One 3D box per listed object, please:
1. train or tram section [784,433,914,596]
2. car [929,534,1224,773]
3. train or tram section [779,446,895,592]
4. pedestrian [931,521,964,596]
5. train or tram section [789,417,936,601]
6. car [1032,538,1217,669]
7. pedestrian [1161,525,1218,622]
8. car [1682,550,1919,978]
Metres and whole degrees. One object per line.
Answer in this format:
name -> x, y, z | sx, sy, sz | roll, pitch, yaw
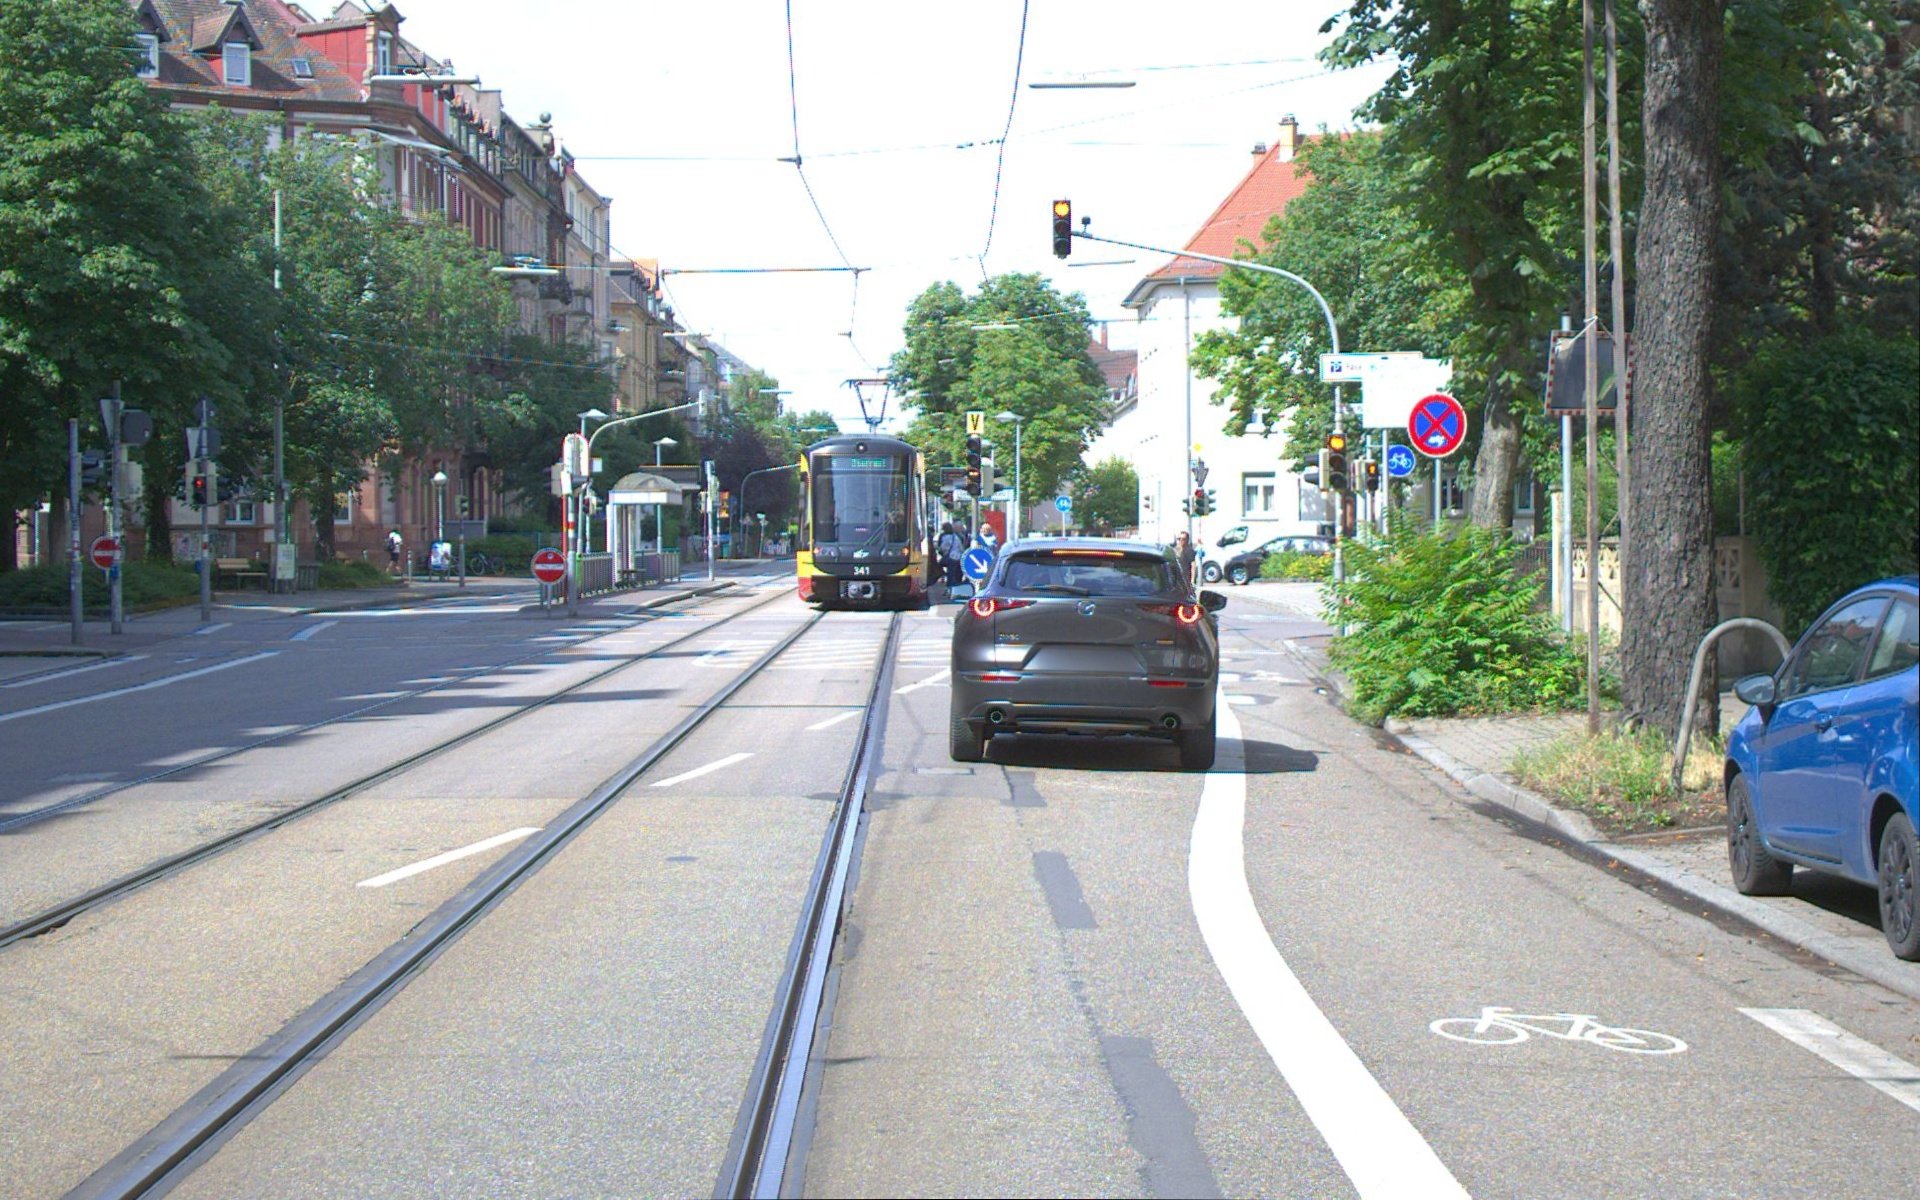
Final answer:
train or tram section -> -2.656, -1.929, 79.587 | 2.651, 3.515, 8.498 | -1, 1, -4
car -> 0.732, 0.305, 24.394 | 1.789, 1.507, 4.351 | 1, 1, -2
train or tram section -> -3.214, -2.031, 88.072 | 2.651, 3.515, 8.498 | -1, 1, -4
pedestrian -> -0.276, -0.892, 73.515 | 0.667, 1.599, 0.700 | 0, 1, -2
train or tram section -> -2.100, -1.827, 71.084 | 2.651, 3.515, 8.498 | -1, 1, -4
car -> 1.985, -0.003, 42.870 | 1.784, 1.487, 4.884 | -1, 1, -3
pedestrian -> 3.778, -0.440, 56.568 | 0.874, 1.599, 0.632 | 0, 1, -2
car -> 4.247, 0.561, 14.185 | 1.624, 1.491, 3.848 | -2, 1, -1
